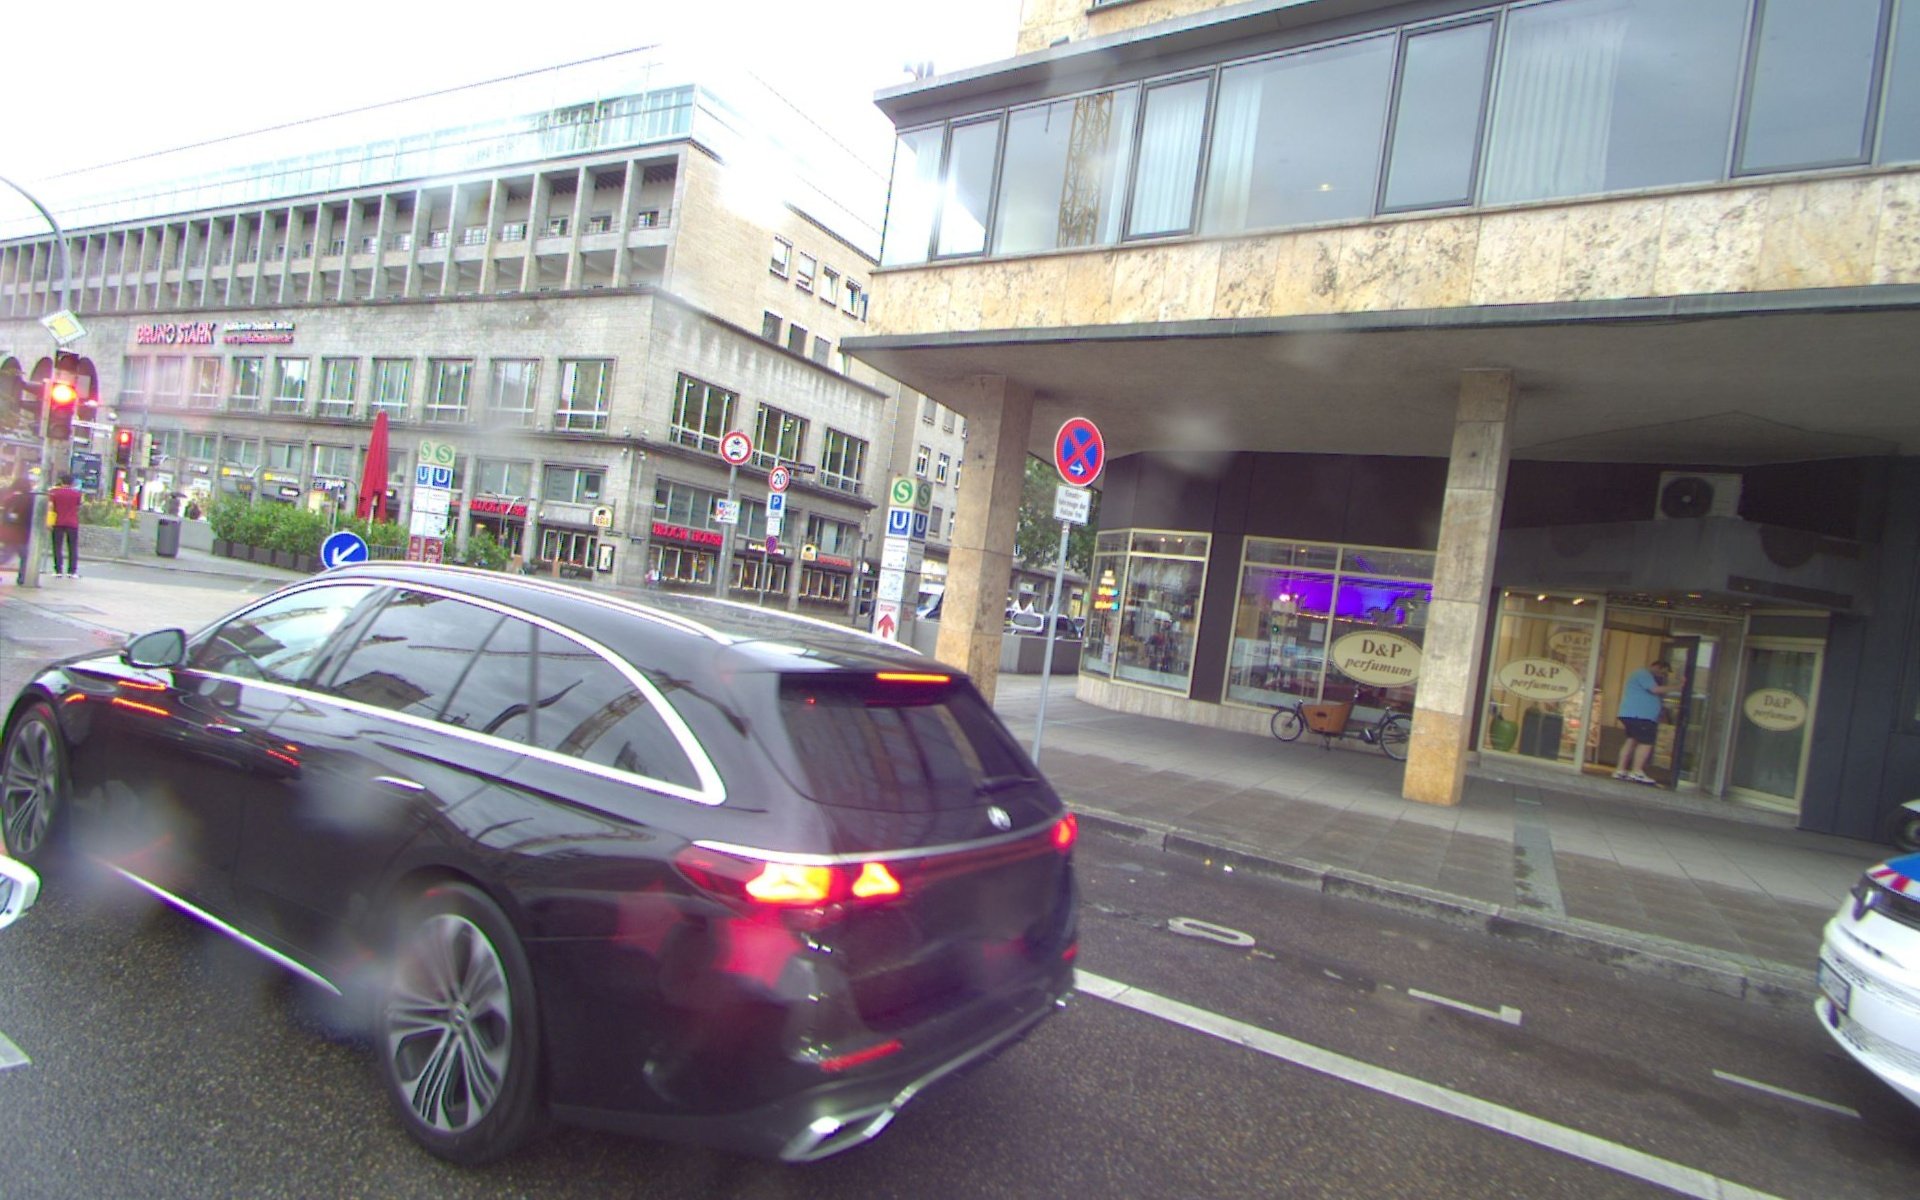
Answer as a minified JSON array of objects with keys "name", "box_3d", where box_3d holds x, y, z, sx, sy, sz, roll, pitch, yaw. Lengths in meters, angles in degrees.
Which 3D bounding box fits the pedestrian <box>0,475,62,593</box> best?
[{"name":"pedestrian","box_3d":[-13.955,-0.985,14.789,0.609,1.627,0.801,7,-1,28]}]

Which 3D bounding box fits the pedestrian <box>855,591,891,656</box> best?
[{"name":"pedestrian","box_3d":[-2.541,0.679,29.375,0.768,1.777,0.503,8,-1,-15]}]

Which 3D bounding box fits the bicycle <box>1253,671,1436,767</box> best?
[{"name":"bicycle","box_3d":[5.849,1.790,15.384,2.431,1.058,0.657,6,-1,32]}]

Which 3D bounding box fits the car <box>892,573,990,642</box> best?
[{"name":"car","box_3d":[-0.841,0.466,51.464,1.965,2.792,6.185,7,-2,28]}]

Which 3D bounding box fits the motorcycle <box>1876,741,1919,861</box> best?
[{"name":"motorcycle","box_3d":[11.075,2.268,10.520,2.074,1.232,0.567,6,-1,40]}]

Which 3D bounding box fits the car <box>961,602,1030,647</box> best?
[{"name":"car","box_3d":[2.122,1.484,58.472,1.966,2.065,4.557,7,-2,29]}]

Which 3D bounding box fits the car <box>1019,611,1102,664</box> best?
[{"name":"car","box_3d":[4.707,1.781,46.577,1.966,1.995,4.638,7,-1,29]}]

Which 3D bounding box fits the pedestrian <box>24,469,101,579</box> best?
[{"name":"pedestrian","box_3d":[-15.440,-1.282,17.328,0.561,1.772,0.678,7,-1,-15]}]

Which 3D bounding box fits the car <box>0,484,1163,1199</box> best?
[{"name":"car","box_3d":[-1.776,0.568,3.877,4.551,1.519,1.797,6,-2,31]}]

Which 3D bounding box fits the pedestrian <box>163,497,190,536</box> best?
[{"name":"pedestrian","box_3d":[-43.688,-4.645,56.094,0.811,2.037,0.764,7,-1,32]}]

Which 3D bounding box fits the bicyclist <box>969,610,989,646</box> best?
[{"name":"bicyclist","box_3d":[0.874,1.273,45.826,0.601,1.558,0.719,7,-1,13]}]

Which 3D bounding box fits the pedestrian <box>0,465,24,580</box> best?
[{"name":"pedestrian","box_3d":[-14.896,-1.222,15.249,0.458,1.737,0.757,7,-1,28]}]

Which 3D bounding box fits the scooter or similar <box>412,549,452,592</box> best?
[{"name":"scooter or similar","box_3d":[-16.427,-0.931,31.300,1.000,1.203,0.291,7,-1,13]}]

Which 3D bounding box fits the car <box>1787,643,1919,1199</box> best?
[{"name":"car","box_3d":[5.897,1.413,3.037,4.853,1.942,1.878,7,-2,31]}]

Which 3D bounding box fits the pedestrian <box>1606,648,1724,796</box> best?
[{"name":"pedestrian","box_3d":[9.653,1.653,13.775,1.119,1.811,0.798,6,-1,39]}]

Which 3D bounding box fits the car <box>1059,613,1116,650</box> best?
[{"name":"car","box_3d":[8.953,2.233,70.432,1.967,2.065,4.830,7,-2,32]}]

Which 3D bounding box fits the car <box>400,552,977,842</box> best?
[{"name":"car","box_3d":[-2.317,0.644,8.229,4.451,1.503,1.878,6,-2,31]}]

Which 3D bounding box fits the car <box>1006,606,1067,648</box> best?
[{"name":"car","box_3d":[4.863,1.733,63.490,1.966,2.065,4.483,7,-2,29]}]

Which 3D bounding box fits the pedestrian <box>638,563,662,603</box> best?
[{"name":"pedestrian","box_3d":[-12.647,-0.670,41.055,0.748,1.530,0.714,8,-1,-16]}]

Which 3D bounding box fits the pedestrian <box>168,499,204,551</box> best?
[{"name":"pedestrian","box_3d":[-32.386,-3.120,42.109,0.754,2.037,0.822,8,-1,-16]}]

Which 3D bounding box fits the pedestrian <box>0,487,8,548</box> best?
[{"name":"pedestrian","box_3d":[-14.576,-0.973,14.752,0.360,1.491,0.680,7,-1,27]}]
